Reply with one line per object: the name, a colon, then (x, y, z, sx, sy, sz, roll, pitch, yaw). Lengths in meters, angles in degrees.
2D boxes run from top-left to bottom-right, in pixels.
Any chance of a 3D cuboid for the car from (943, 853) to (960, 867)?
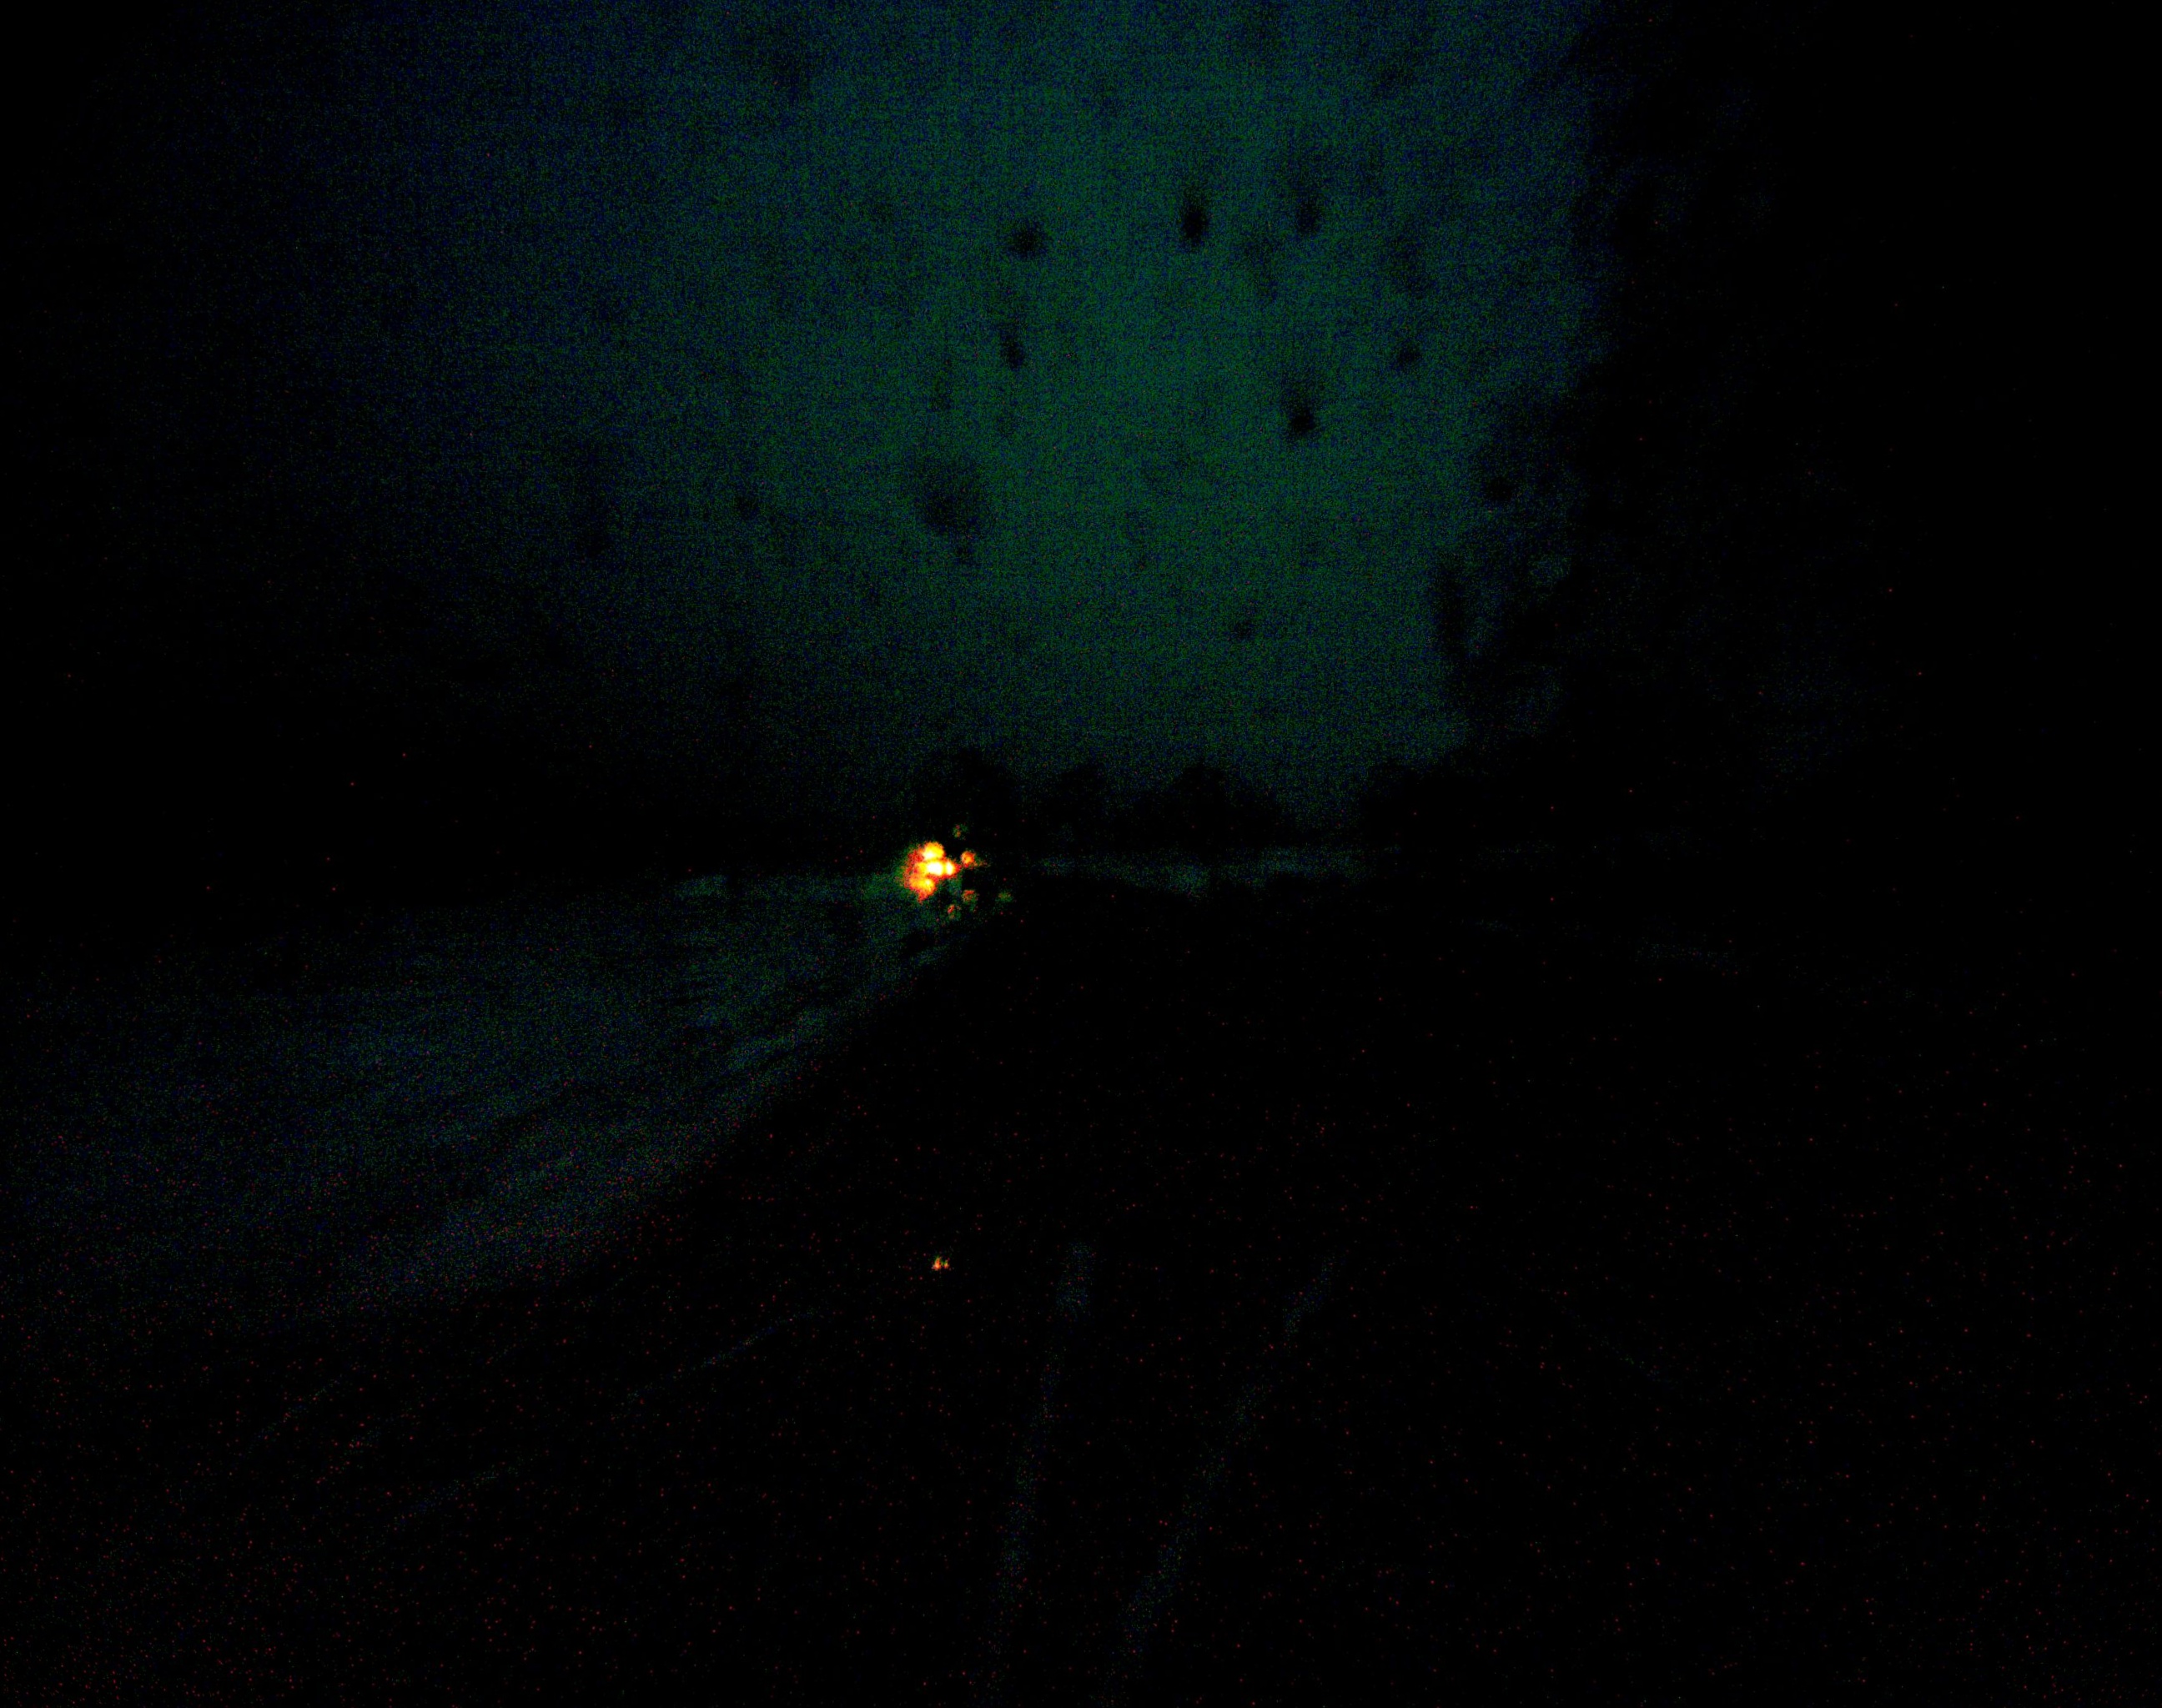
car: (-20.579, 1.004, 120.778, 2.001, 2.002, 3.993, -4, 2, -18)
